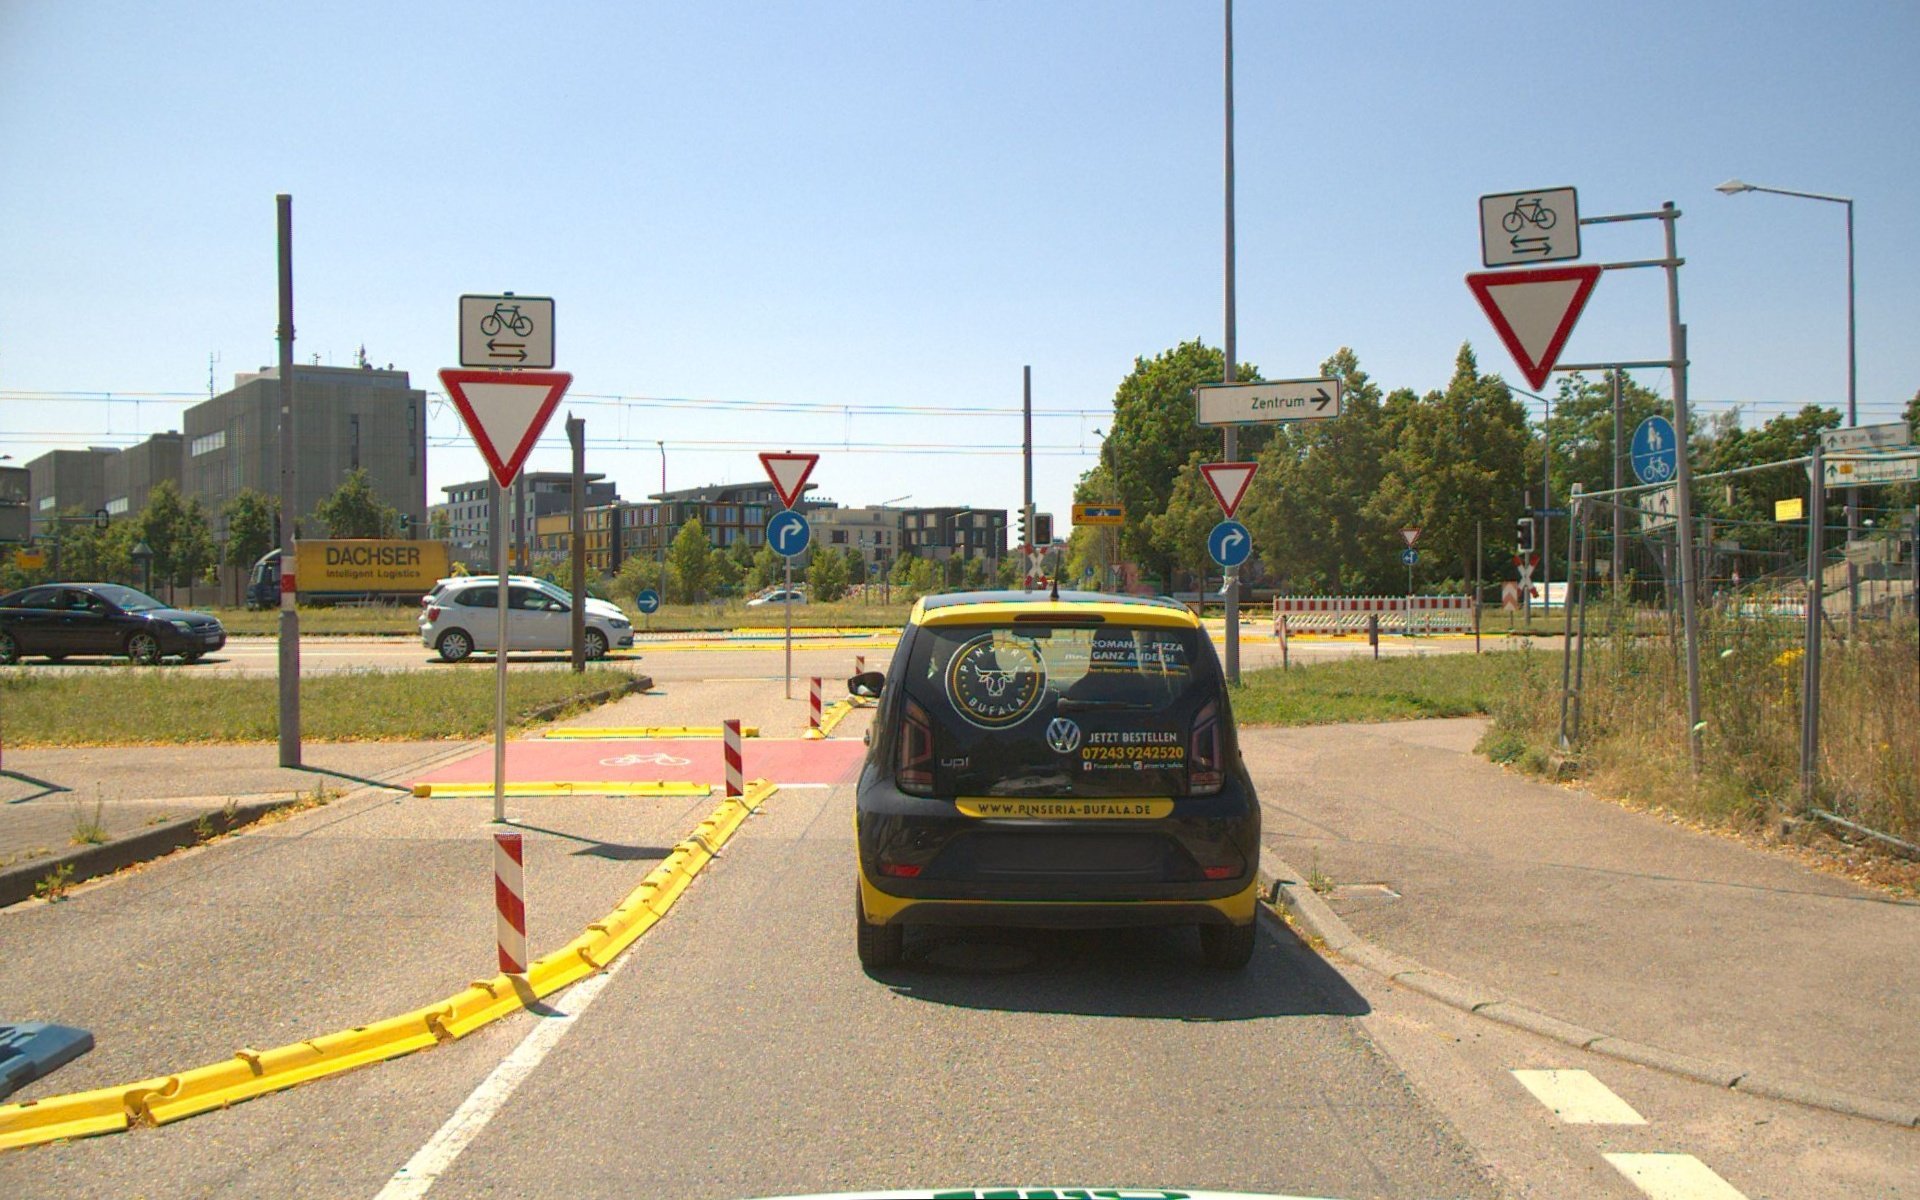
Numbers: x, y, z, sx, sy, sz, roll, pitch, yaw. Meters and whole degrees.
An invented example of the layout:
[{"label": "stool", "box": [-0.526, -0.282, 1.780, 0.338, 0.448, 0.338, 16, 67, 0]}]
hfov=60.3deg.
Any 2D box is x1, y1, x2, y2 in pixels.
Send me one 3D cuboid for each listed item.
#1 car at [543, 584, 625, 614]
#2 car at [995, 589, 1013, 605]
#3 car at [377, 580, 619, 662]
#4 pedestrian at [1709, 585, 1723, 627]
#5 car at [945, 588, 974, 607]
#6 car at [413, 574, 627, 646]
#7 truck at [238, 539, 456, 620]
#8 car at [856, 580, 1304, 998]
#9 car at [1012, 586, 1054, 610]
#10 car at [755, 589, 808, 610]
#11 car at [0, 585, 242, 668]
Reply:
[{"label": "car", "box": [-19.071, -0.081, 84.008, 3.961, 1.486, 1.726, 0, 0, -10]}, {"label": "car", "box": [3.873, -0.303, 146.259, 1.489, 1.418, 3.282, 0, 0, -1]}, {"label": "car", "box": [-8.703, 0.392, 31.509, 4.260, 1.474, 1.851, 1, 0, -12]}, {"label": "pedestrian", "box": [31.572, 0.241, 69.072, 0.438, 1.769, 0.318, 0, 0, 11]}, {"label": "car", "box": [-0.009, -0.202, 125.801, 1.730, 1.368, 3.324, 0, 0, 9]}, {"label": "car", "box": [-9.575, 0.204, 36.284, 4.269, 1.512, 1.997, 0, 0, -7]}, {"label": "truck", "box": [-29.353, -0.979, 79.429, 9.501, 3.723, 2.675, -1, 0, -34]}, {"label": "car", "box": [0.399, 0.665, 7.905, 1.586, 1.477, 3.986, 1, 0, -1]}, {"label": "car", "box": [4.232, -0.113, 96.115, 1.631, 1.396, 3.020, 0, 0, -15]}, {"label": "car", "box": [-10.295, -0.057, 95.545, 2.863, 1.175, 1.190, 0, 0, -36]}, {"label": "car", "box": [-15.951, 0.460, 30.370, 4.648, 1.474, 1.999, 0, 0, -3]}]
